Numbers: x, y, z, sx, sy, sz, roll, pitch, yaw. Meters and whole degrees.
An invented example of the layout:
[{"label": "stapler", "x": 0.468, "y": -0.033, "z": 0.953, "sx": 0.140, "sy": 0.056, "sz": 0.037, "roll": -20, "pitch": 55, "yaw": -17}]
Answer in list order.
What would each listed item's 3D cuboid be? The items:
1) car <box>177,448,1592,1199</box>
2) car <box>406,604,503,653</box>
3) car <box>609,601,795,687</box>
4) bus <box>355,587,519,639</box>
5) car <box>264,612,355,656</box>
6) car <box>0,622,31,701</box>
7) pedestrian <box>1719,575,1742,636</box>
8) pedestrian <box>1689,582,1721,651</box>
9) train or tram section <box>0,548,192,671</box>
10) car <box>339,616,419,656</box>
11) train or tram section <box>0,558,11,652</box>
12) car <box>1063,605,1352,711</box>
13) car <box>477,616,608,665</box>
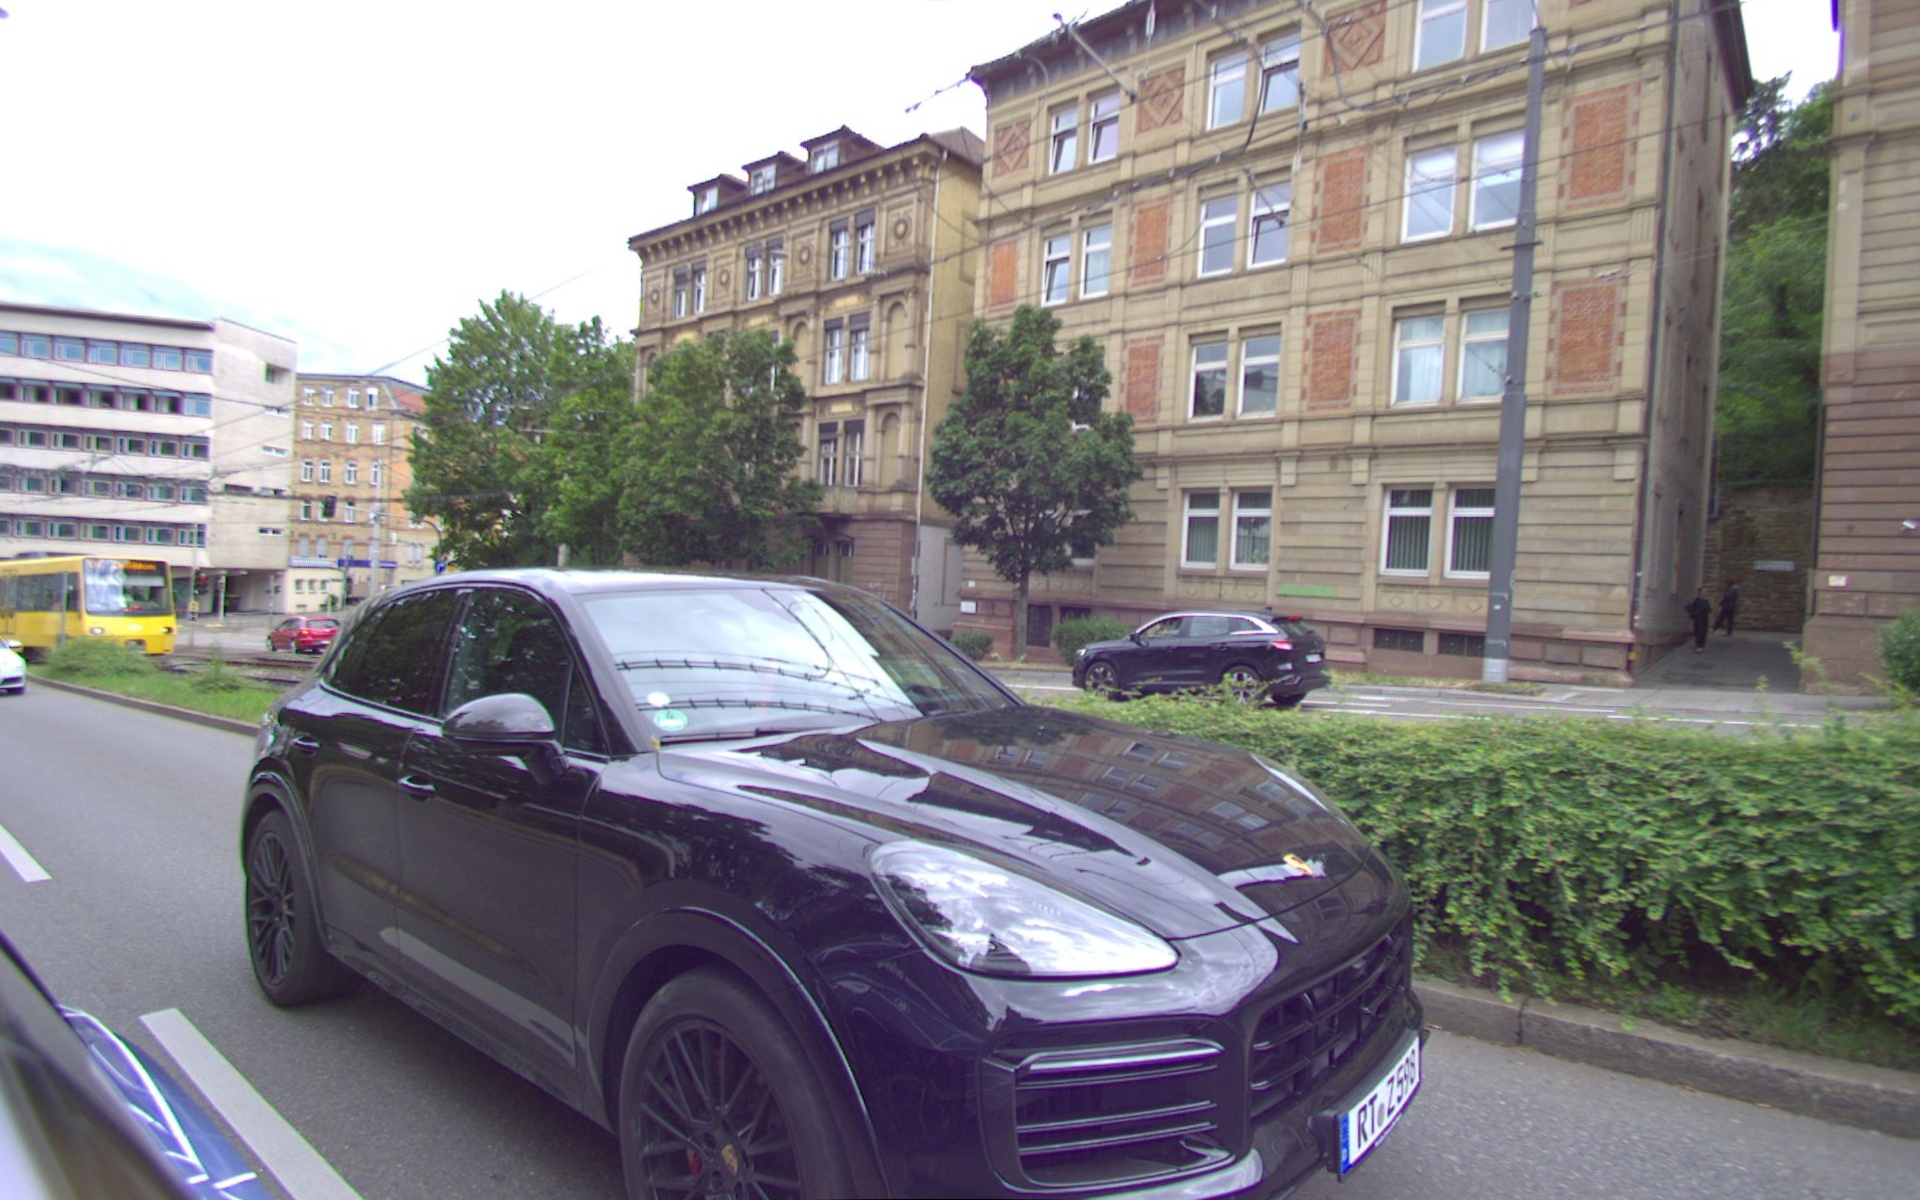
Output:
[{"label": "car", "x": -0.811, "y": 0.663, "z": 3.436, "sx": 4.779, "sy": 1.697, "sz": 2.006, "roll": 1, "pitch": 0, "yaw": 41}, {"label": "car", "x": -21.371, "y": 1.146, "z": 42.681, "sx": 4.992, "sy": 1.863, "sz": 1.972, "roll": 1, "pitch": 1, "yaw": 42}, {"label": "car", "x": -6.005, "y": 0.986, "z": 23.324, "sx": 4.513, "sy": 1.801, "sz": 1.860, "roll": -1, "pitch": -3, "yaw": 40}, {"label": "bus", "x": -33.690, "y": 0.755, "z": 66.070, "sx": 3.352, "sy": 3.052, "sz": 11.516, "roll": -1, "pitch": 0, "yaw": 9}, {"label": "car", "x": -25.421, "y": 1.311, "z": 39.482, "sx": 4.407, "sy": 1.530, "sz": 1.971, "roll": 1, "pitch": -2, "yaw": 44}, {"label": "car", "x": -21.300, "y": 1.266, "z": 21.295, "sx": 4.525, "sy": 1.486, "sz": 1.874, "roll": 1, "pitch": 2, "yaw": 38}, {"label": "pedestrian", "x": 22.405, "y": 0.156, "z": 29.422, "sx": 0.492, "sy": 1.752, "sz": 0.511, "roll": -1, "pitch": -3, "yaw": 40}, {"label": "pedestrian", "x": 18.166, "y": 0.408, "z": 24.671, "sx": 0.559, "sy": 1.665, "sz": 0.615, "roll": -1, "pitch": -3, "yaw": 40}, {"label": "train or tram section", "x": -31.873, "y": 0.213, "z": 35.089, "sx": 14.414, "sy": 3.691, "sz": 2.862, "roll": 0, "pitch": 1, "yaw": 30}, {"label": "car", "x": -23.552, "y": 1.422, "z": 40.977, "sx": 1.722, "sy": 1.437, "sz": 4.408, "roll": -1, "pitch": 1, "yaw": -45}, {"label": "train or tram section", "x": -44.687, "y": 0.205, "z": 41.346, "sx": 14.129, "sy": 3.691, "sz": 2.871, "roll": 0, "pitch": 1, "yaw": 21}, {"label": "car", "x": 4.079, "y": 0.926, "z": 17.181, "sx": 4.438, "sy": 1.566, "sz": 1.844, "roll": -1, "pitch": -3, "yaw": 43}, {"label": "car", "x": -13.311, "y": 1.256, "z": 32.136, "sx": 4.943, "sy": 1.461, "sz": 1.800, "roll": -1, "pitch": -2, "yaw": 41}]
